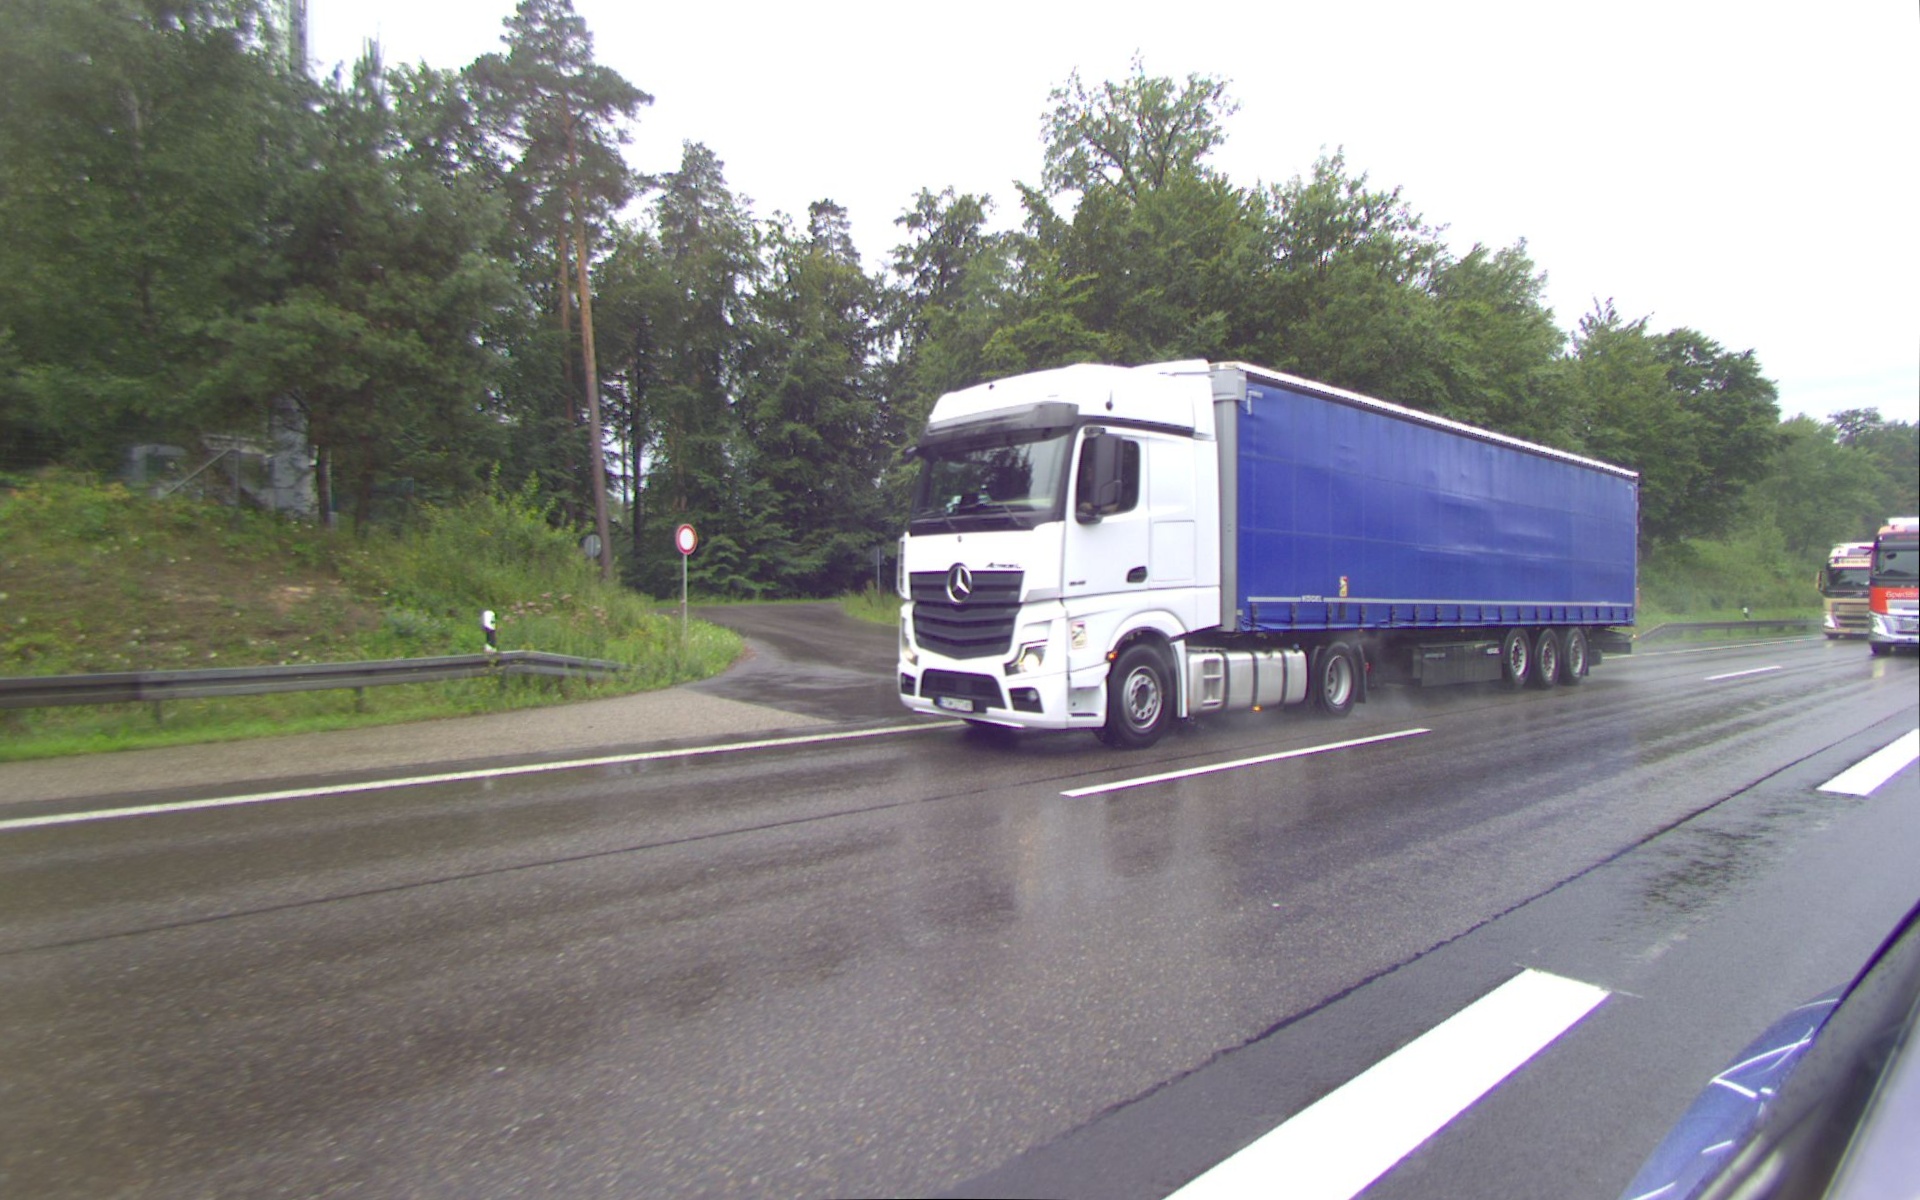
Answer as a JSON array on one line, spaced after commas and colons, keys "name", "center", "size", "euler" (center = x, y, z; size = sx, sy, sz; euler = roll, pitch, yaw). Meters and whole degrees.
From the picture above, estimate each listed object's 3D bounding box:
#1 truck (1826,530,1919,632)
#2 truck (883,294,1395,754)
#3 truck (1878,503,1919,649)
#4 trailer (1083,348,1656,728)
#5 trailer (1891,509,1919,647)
[{"name": "truck", "center": [40.374, -0.789, 44.076], "size": [9.765, 4.007, 2.606], "euler": [0, 0, -41]}, {"name": "truck", "center": [2.289, -0.675, 11.815], "size": [5.904, 4.065, 2.607], "euler": [0, -1, -39]}, {"name": "truck", "center": [28.712, -0.658, 29.169], "size": [5.500, 4.007, 2.607], "euler": [0, 0, -40]}, {"name": "trailer", "center": [7.493, -0.705, 16.160], "size": [13.472, 4.064, 2.558], "euler": [0, 0, -40]}, {"name": "trailer", "center": [33.926, -0.676, 33.378], "size": [14.317, 4.007, 2.608], "euler": [0, 0, -39]}]
